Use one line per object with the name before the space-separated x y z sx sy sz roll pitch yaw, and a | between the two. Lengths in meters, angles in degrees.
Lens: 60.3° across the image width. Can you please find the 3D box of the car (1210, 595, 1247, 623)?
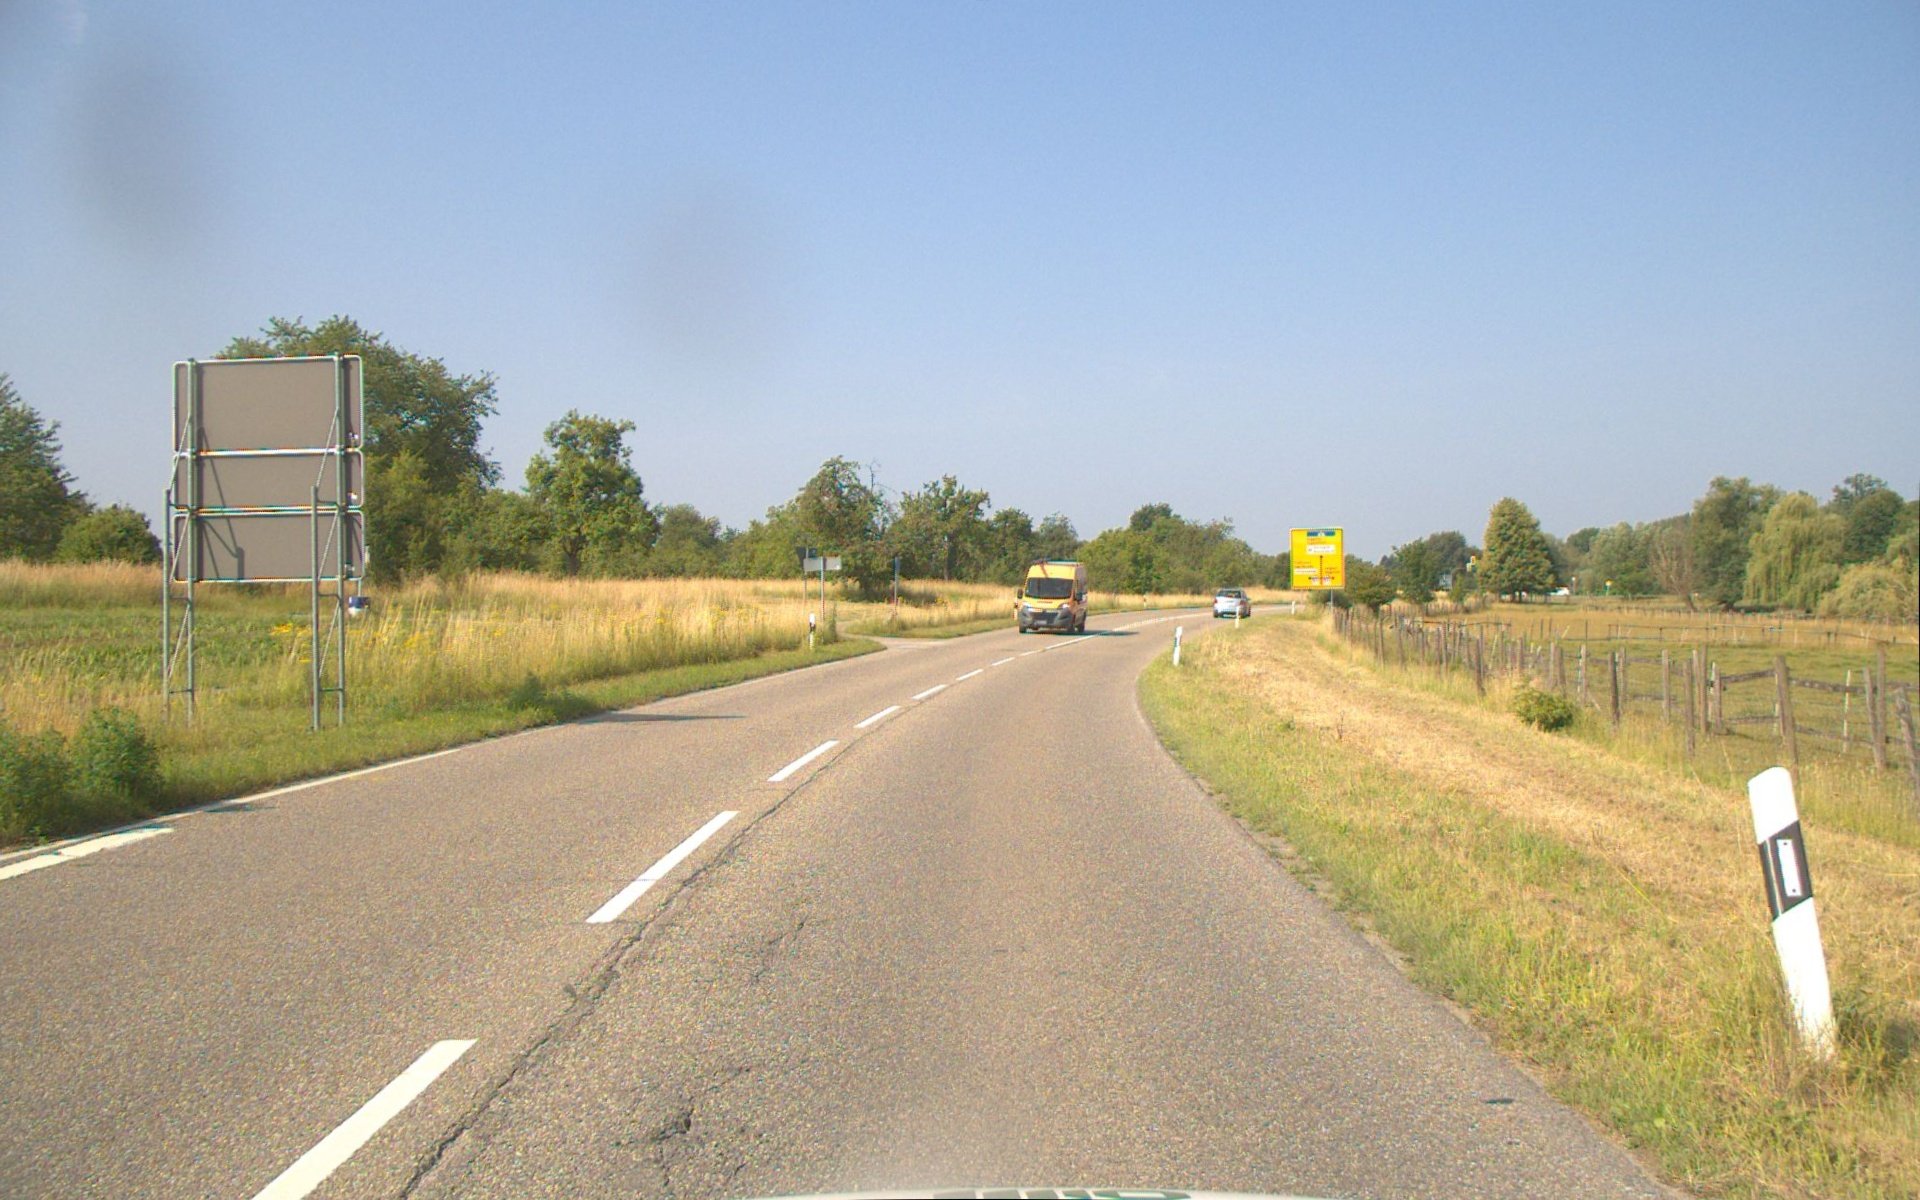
car | 15.295 0.507 94.163 1.858 1.538 4.003 1 0 12

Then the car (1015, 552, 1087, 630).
car | 3.438 -0.344 61.629 2.078 2.743 5.273 1 0 9
